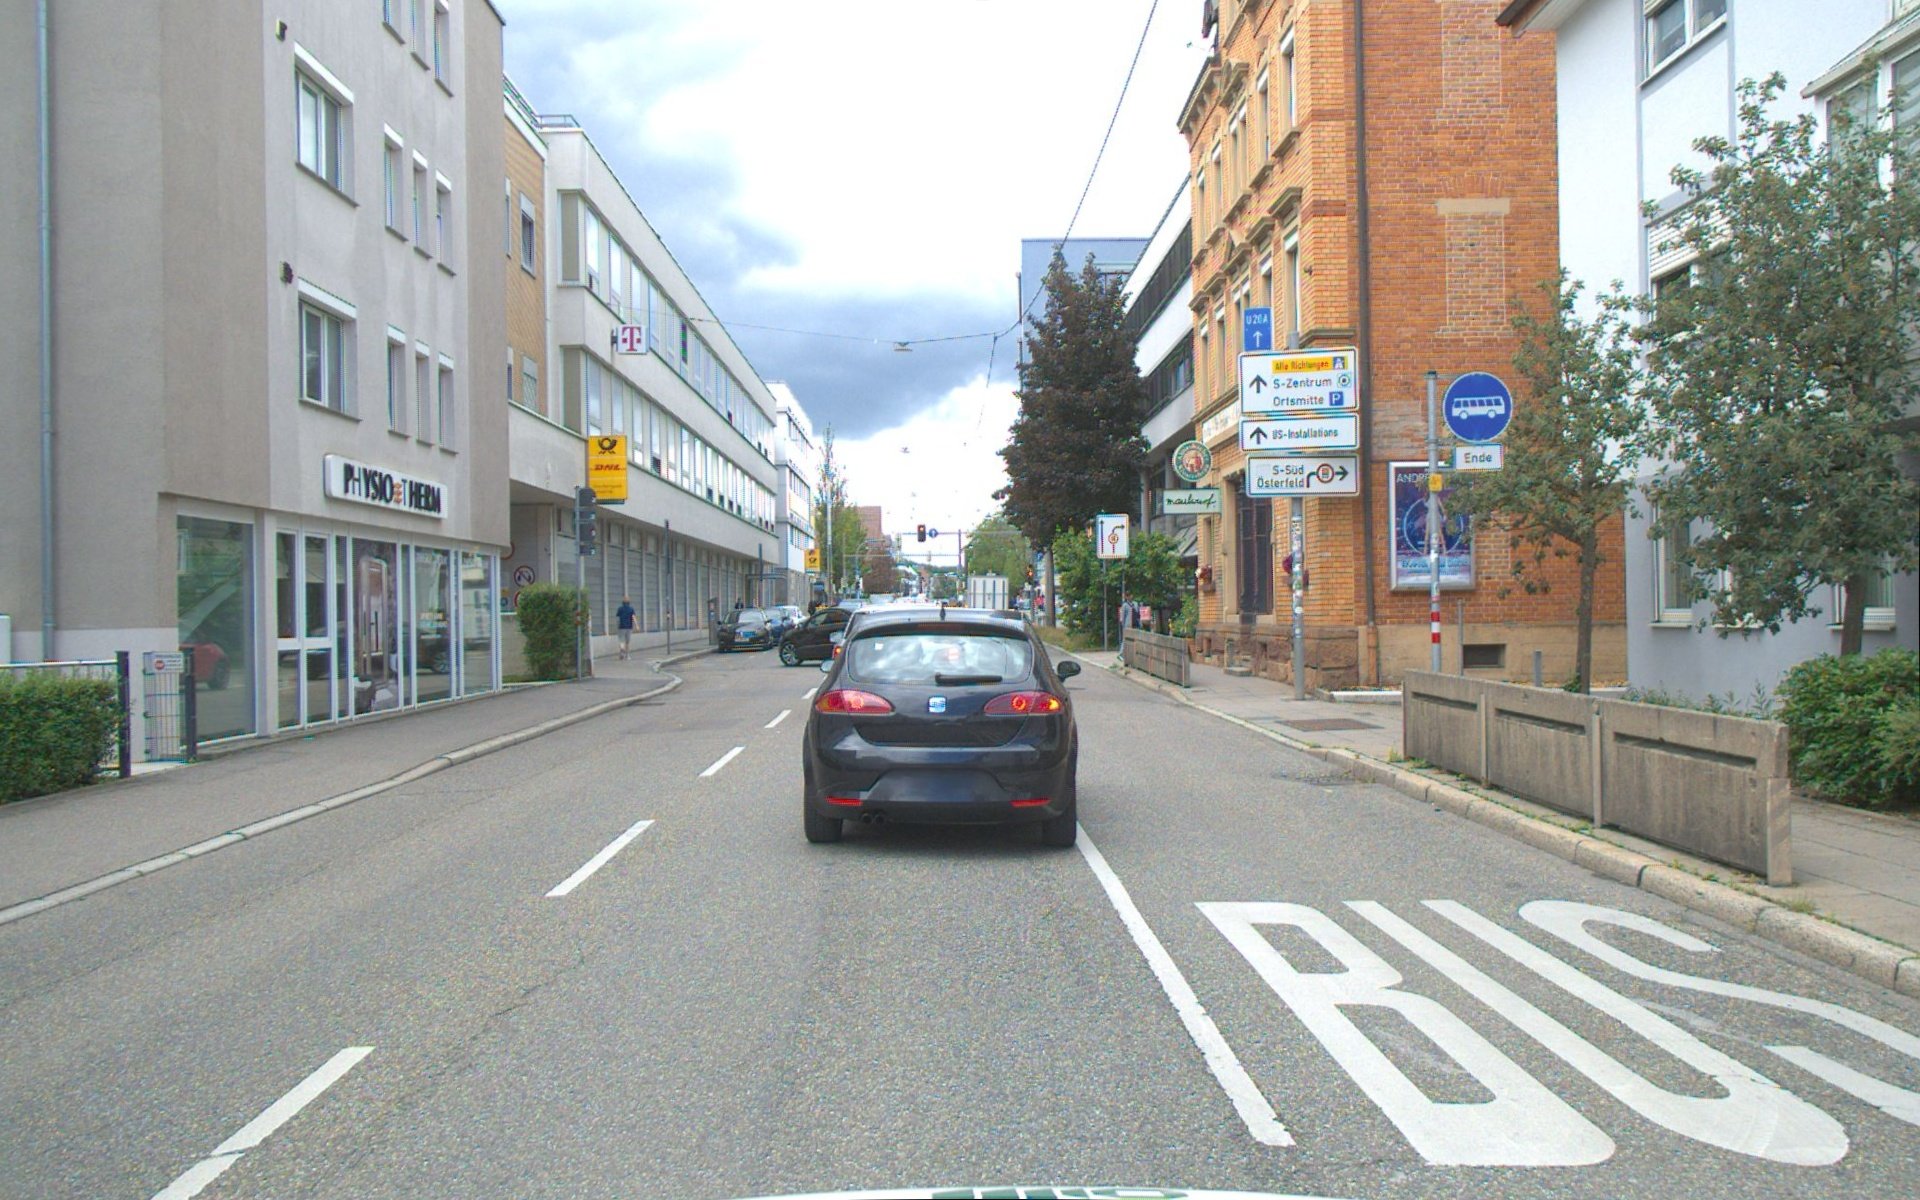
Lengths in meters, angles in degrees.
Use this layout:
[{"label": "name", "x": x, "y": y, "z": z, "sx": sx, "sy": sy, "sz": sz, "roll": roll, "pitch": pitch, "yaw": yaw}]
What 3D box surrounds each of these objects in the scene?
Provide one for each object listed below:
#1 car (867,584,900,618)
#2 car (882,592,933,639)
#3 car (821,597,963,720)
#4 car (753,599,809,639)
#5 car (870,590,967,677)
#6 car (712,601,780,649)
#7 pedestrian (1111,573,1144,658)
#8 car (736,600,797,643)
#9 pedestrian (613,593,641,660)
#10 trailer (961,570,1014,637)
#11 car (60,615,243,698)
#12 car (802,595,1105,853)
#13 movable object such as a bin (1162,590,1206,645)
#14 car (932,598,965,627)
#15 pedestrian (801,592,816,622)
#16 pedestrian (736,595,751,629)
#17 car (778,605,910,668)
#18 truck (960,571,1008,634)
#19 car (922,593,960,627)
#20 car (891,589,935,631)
[{"label": "car", "x": -4.911, "y": 0.064, "z": 106.805, "sx": 1.953, "sy": 2.049, "sz": 4.900, "roll": -2, "pitch": 0, "yaw": -2}, {"label": "car", "x": -1.889, "y": 0.548, "z": 59.687, "sx": 1.767, "sy": 1.629, "sz": 3.736, "roll": 0, "pitch": 0, "yaw": -2}, {"label": "car", "x": -0.905, "y": 0.730, "z": 22.672, "sx": 1.767, "sy": 1.519, "sz": 3.736, "roll": -1, "pitch": 0, "yaw": -2}, {"label": "car", "x": -7.424, "y": 0.767, "z": 68.815, "sx": 1.953, "sy": 1.543, "sz": 4.173, "roll": -1, "pitch": 0, "yaw": -2}, {"label": "car", "x": -0.812, "y": 0.609, "z": 32.393, "sx": 1.767, "sy": 1.580, "sz": 3.736, "roll": -1, "pitch": 0, "yaw": -2}, {"label": "car", "x": -7.374, "y": 0.827, "z": 57.245, "sx": 1.874, "sy": 1.543, "sz": 4.173, "roll": -2, "pitch": 0, "yaw": -2}, {"label": "pedestrian", "x": 4.096, "y": 0.373, "z": 40.494, "sx": 0.679, "sy": 2.049, "sz": 0.676, "roll": -1, "pitch": 0, "yaw": -3}, {"label": "car", "x": -7.348, "y": 0.787, "z": 63.111, "sx": 1.953, "sy": 1.543, "sz": 4.173, "roll": -1, "pitch": 0, "yaw": -2}, {"label": "pedestrian", "x": -9.146, "y": 0.724, "z": 45.439, "sx": 0.630, "sy": 1.800, "sz": 0.809, "roll": -1, "pitch": 0, "yaw": -3}, {"label": "trailer", "x": 1.096, "y": 0.128, "z": 69.127, "sx": 1.953, "sy": 2.653, "sz": 5.347, "roll": -1, "pitch": 0, "yaw": -2}, {"label": "car", "x": -15.517, "y": 1.046, "z": 31.939, "sx": 1.718, "sy": 1.482, "sz": 3.690, "roll": 1, "pitch": 0, "yaw": -1}, {"label": "car", "x": -0.070, "y": 0.707, "z": 11.442, "sx": 1.730, "sy": 1.458, "sz": 3.827, "roll": -1, "pitch": 0, "yaw": -1}, {"label": "movable object such as a bin", "x": 6.399, "y": 0.496, "z": 47.372, "sx": 0.924, "sy": 1.496, "sz": 1.444, "roll": -2, "pitch": 0, "yaw": -4}, {"label": "car", "x": -0.674, "y": 0.693, "z": 94.110, "sx": 1.767, "sy": 1.629, "sz": 3.736, "roll": 0, "pitch": 0, "yaw": -2}, {"label": "pedestrian", "x": -9.704, "y": 0.428, "z": 106.180, "sx": 0.899, "sy": 1.901, "sz": 0.783, "roll": -1, "pitch": 0, "yaw": -2}, {"label": "pedestrian", "x": -10.606, "y": 0.573, "z": 80.960, "sx": 0.642, "sy": 1.651, "sz": 0.681, "roll": -1, "pitch": 0, "yaw": 0}, {"label": "car", "x": -2.824, "y": 0.817, "z": 39.395, "sx": 1.757, "sy": 1.389, "sz": 4.380, "roll": -1, "pitch": 0, "yaw": -24}, {"label": "truck", "x": 1.020, "y": 0.116, "z": 71.893, "sx": 1.953, "sy": 2.653, "sz": 3.259, "roll": -1, "pitch": 0, "yaw": -2}, {"label": "car", "x": -0.949, "y": 0.477, "z": 81.411, "sx": 1.767, "sy": 1.629, "sz": 3.736, "roll": 0, "pitch": 0, "yaw": -2}, {"label": "car", "x": -1.918, "y": 0.399, "z": 67.629, "sx": 1.767, "sy": 1.629, "sz": 3.736, "roll": 0, "pitch": 0, "yaw": -2}]
